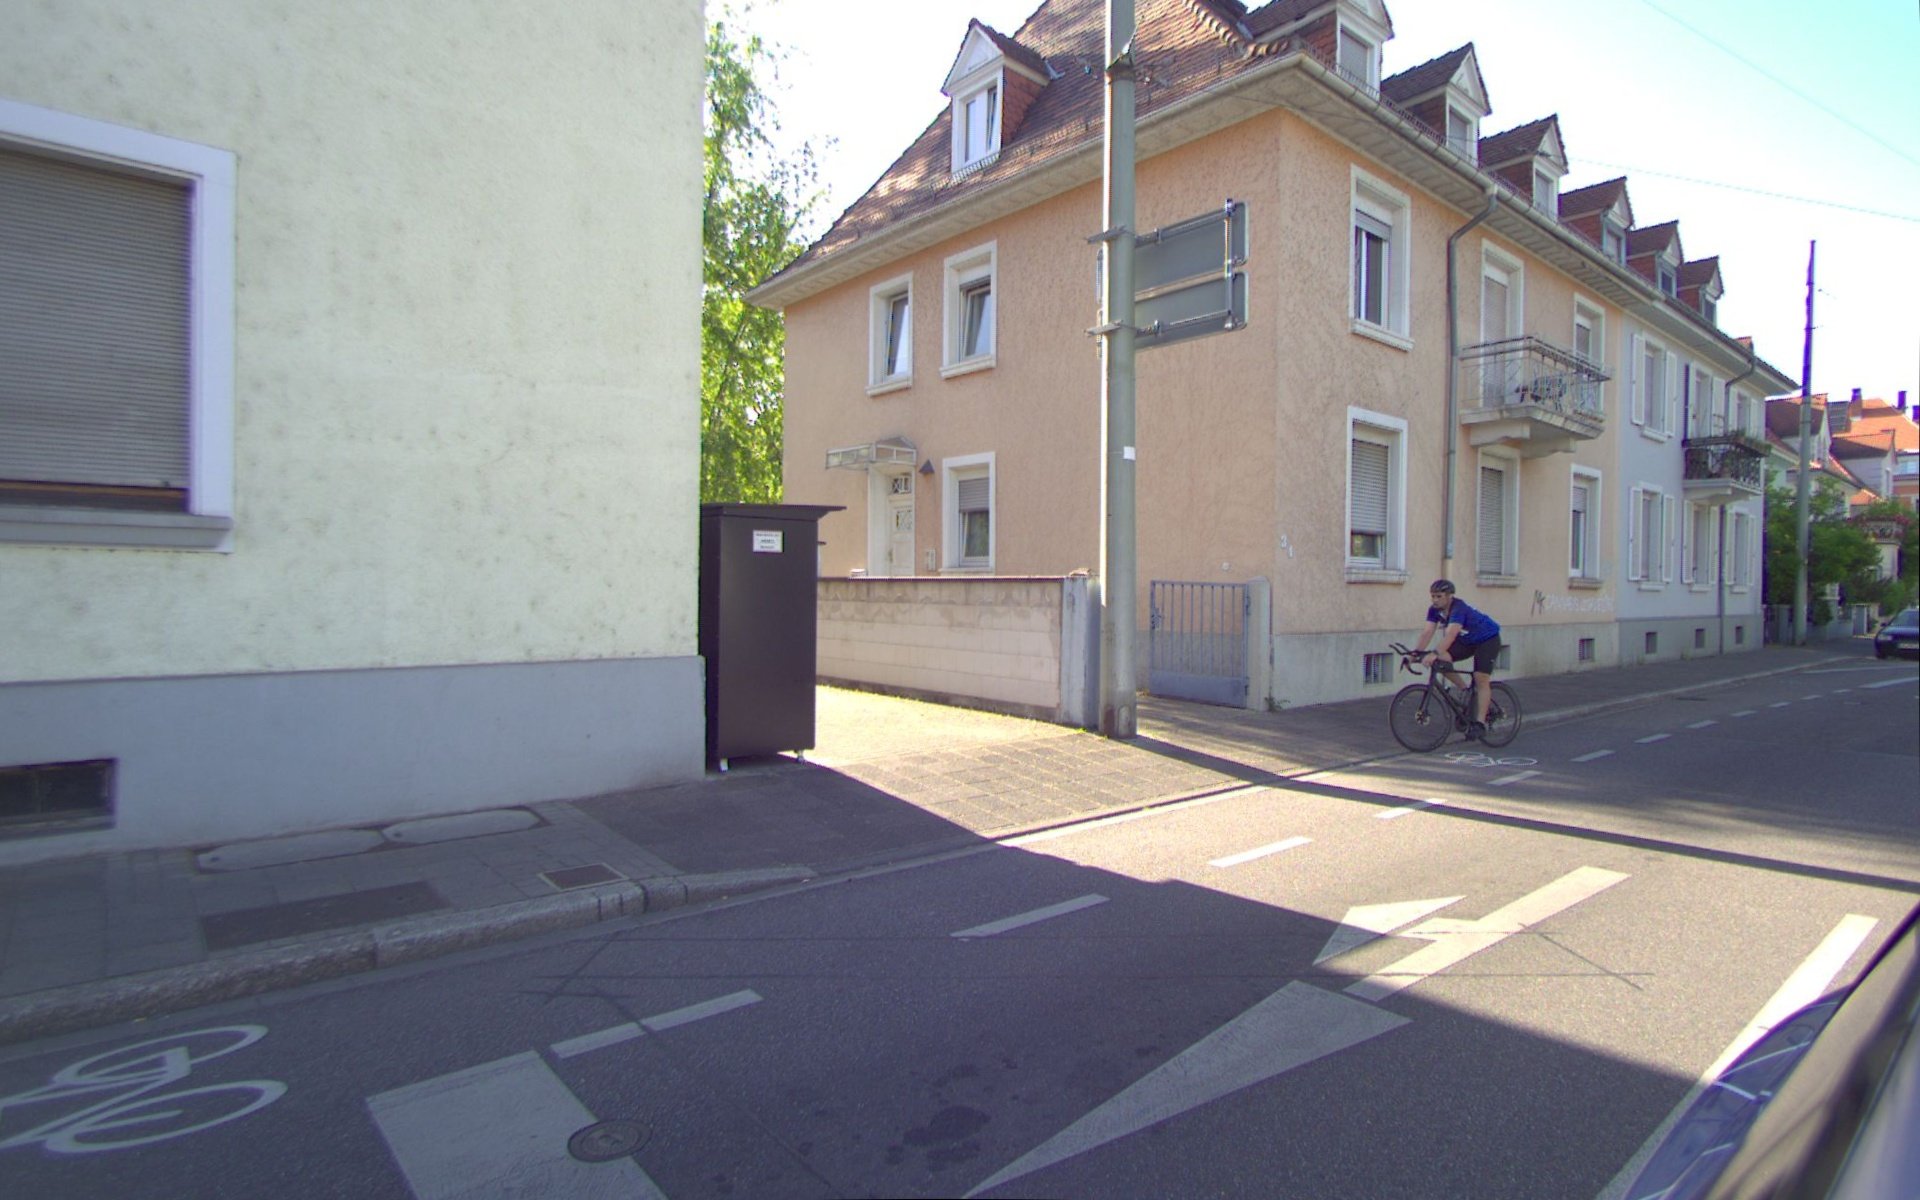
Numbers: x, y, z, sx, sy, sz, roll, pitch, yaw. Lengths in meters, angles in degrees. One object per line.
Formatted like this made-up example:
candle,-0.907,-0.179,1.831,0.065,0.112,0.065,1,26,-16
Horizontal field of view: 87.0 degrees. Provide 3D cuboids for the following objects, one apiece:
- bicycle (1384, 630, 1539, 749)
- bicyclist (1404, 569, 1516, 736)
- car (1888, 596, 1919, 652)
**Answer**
bicycle,5.160,0.880,10.376,1.759,1.076,0.551,0,1,-31
bicyclist,5.128,0.508,10.371,0.996,1.637,0.563,0,1,-31
car,26.713,0.629,27.400,4.347,1.425,1.866,0,1,-41
